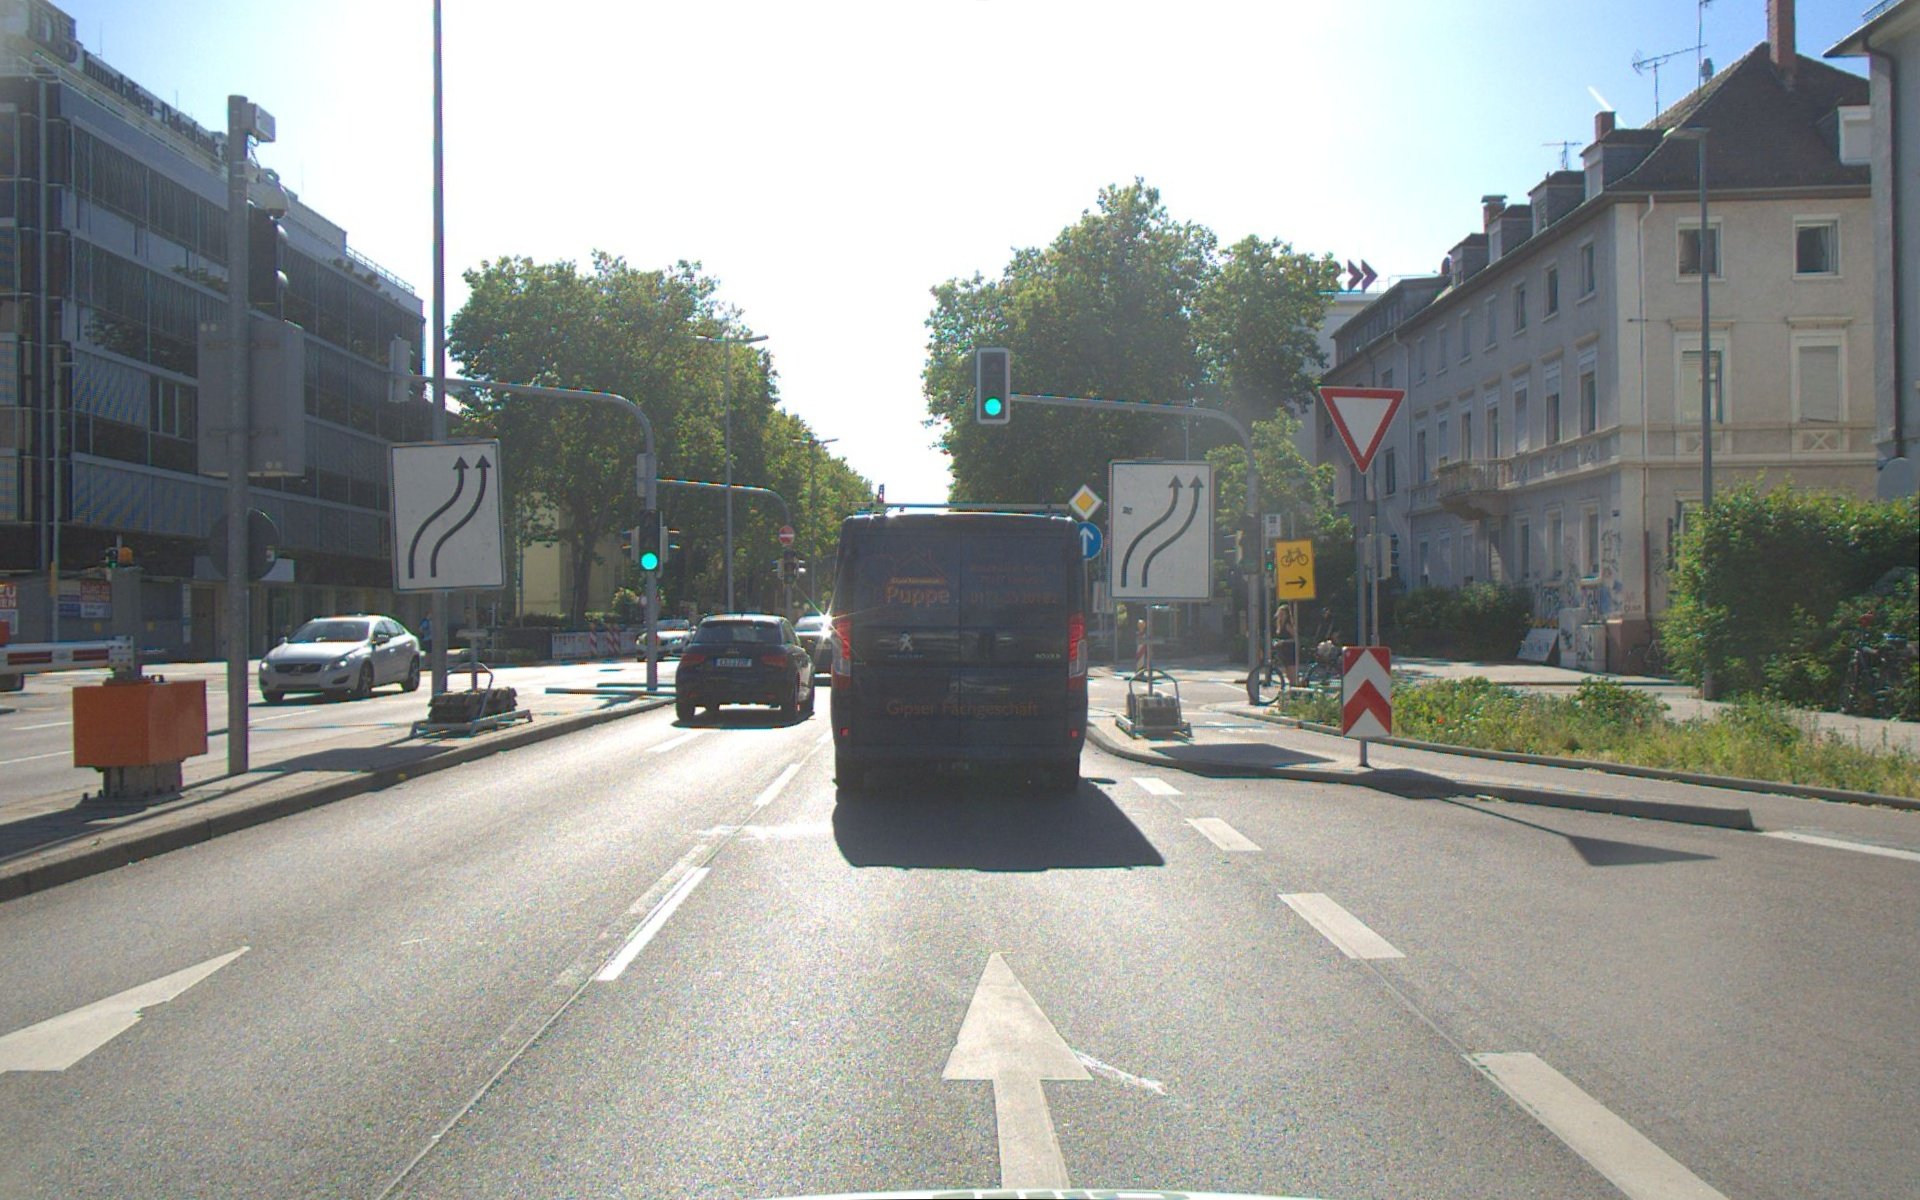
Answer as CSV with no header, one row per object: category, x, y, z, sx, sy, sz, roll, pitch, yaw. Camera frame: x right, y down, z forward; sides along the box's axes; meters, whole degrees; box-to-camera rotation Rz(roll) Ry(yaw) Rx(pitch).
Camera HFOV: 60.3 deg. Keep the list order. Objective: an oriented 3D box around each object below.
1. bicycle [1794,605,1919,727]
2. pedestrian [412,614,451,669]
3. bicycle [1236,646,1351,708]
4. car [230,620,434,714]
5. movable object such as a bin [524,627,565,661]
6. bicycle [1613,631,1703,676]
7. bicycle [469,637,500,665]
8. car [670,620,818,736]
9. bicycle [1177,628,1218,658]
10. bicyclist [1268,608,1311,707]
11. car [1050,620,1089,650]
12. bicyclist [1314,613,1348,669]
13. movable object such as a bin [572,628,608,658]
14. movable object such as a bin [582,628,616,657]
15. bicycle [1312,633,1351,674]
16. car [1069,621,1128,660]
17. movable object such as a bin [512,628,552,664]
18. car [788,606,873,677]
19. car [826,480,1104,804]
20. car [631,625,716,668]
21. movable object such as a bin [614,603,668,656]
bicycle,11.754,0.807,21.317,0.694,1.469,2.490,1,0,-1
pedestrian,-16.832,1.316,52.722,0.846,1.741,1.013,0,-1,7
bicycle,5.979,1.379,29.669,1.922,1.043,0.605,1,0,-1
car,-11.477,1.176,30.582,1.952,1.478,4.391,3,0,1
movable object such as a bin,-17.445,1.849,69.446,1.189,1.413,1.856,0,-1,2
bicycle,17.165,1.315,40.684,1.955,1.099,0.579,0,-1,1
bicycle,-18.566,1.985,64.565,0.614,1.055,1.879,0,-1,1
car,-3.050,1.063,24.014,1.711,1.432,3.999,1,1,-2
bicycle,8.337,1.506,57.952,0.577,1.023,2.124,-1,-1,34
bicyclist,5.926,1.023,29.727,0.591,1.738,0.858,0,-1,0
car,5.671,1.798,85.879,1.727,1.534,4.250,0,-1,0
bicyclist,10.323,1.139,46.042,0.710,1.526,0.870,-1,-1,28
movable object such as a bin,-17.104,1.976,76.454,1.381,1.361,1.157,0,-1,2
movable object such as a bin,-16.917,1.979,77.541,1.381,1.361,0.936,0,-1,2
bicycle,10.371,1.482,46.141,0.675,1.117,1.685,-1,-1,27
car,5.545,1.597,66.654,1.814,1.505,4.940,0,-1,-2
movable object such as a bin,-17.350,1.851,67.110,1.091,1.413,1.856,0,-1,2
car,-2.888,0.896,37.578,1.711,1.432,3.999,1,1,-2
car,0.011,0.321,14.295,2.052,2.396,3.932,1,0,-1
car,-9.722,1.572,56.484,1.890,1.369,4.318,0,0,4
movable object such as a bin,-17.322,1.598,89.998,2.103,2.754,5.351,0,-1,-3
